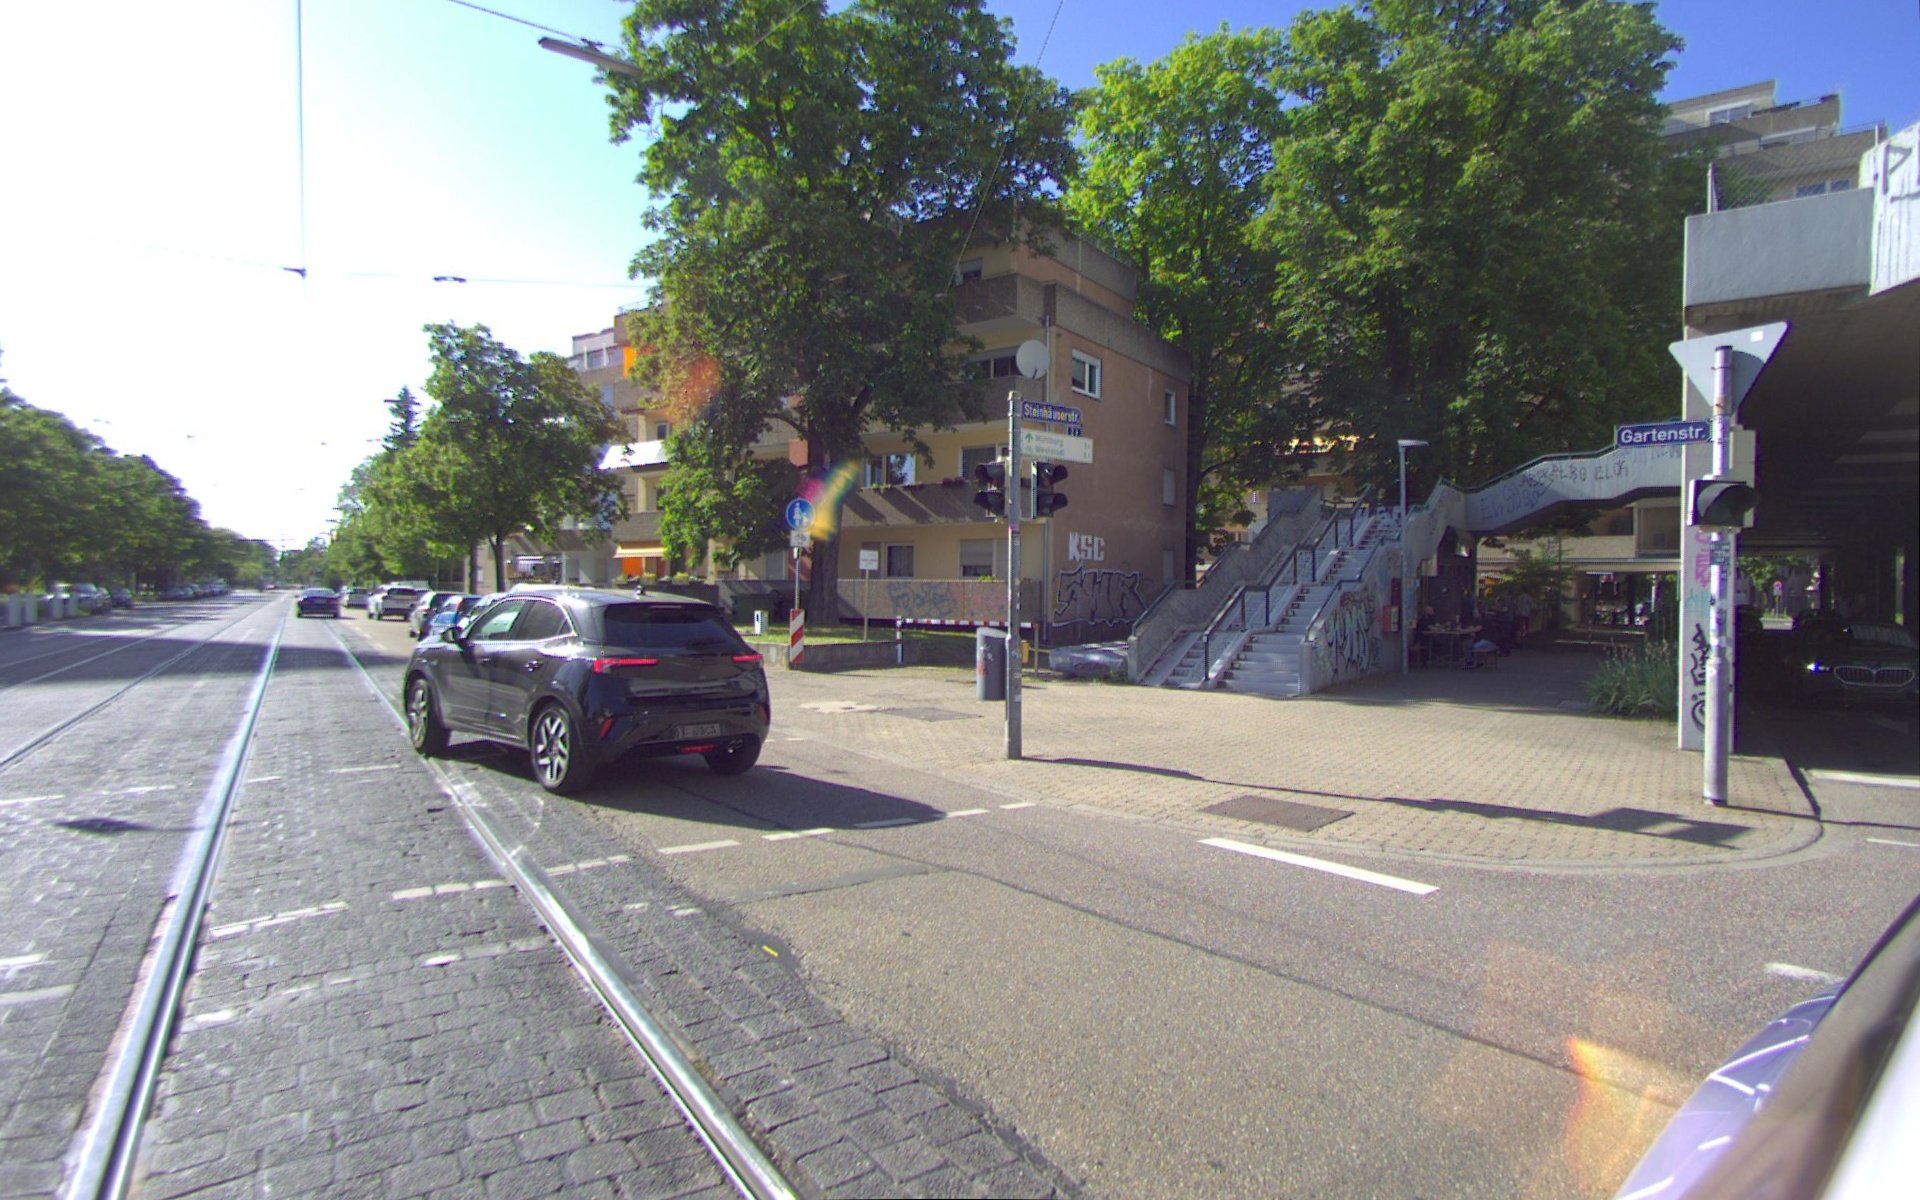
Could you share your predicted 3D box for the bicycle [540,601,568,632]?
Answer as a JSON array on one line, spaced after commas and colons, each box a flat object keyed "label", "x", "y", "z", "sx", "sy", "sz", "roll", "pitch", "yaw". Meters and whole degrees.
[{"label": "bicycle", "x": -15.035, "y": 0.595, "z": 37.463, "sx": 0.793, "sy": 1.075, "sz": 2.196, "roll": 1, "pitch": 0, "yaw": -26}]

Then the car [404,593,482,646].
[{"label": "car", "x": -15.811, "y": 0.581, "z": 30.889, "sx": 1.457, "sy": 1.479, "sz": 3.367, "roll": 2, "pitch": 0, "yaw": -38}]

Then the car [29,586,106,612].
[{"label": "car", "x": -45.470, "y": -0.062, "z": 51.594, "sx": 2.851, "sy": 1.265, "sz": 1.254, "roll": 0, "pitch": 0, "yaw": -38}]

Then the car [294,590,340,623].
[{"label": "car", "x": -30.734, "y": 0.279, "z": 48.405, "sx": 1.775, "sy": 1.521, "sz": 3.879, "roll": 0, "pitch": 0, "yaw": -33}]

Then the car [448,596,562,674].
[{"label": "car", "x": -10.323, "y": 0.743, "z": 22.850, "sx": 1.625, "sy": 1.551, "sz": 3.507, "roll": 2, "pitch": 0, "yaw": -36}]

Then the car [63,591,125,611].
[{"label": "car", "x": -54.194, "y": 0.058, "z": 63.369, "sx": 2.889, "sy": 1.266, "sz": 1.405, "roll": 0, "pitch": 0, "yaw": -38}]

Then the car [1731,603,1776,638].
[{"label": "car", "x": 37.923, "y": 0.945, "z": 48.443, "sx": 1.609, "sy": 1.574, "sz": 3.959, "roll": 1, "pitch": 0, "yaw": 37}]

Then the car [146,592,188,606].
[{"label": "car", "x": -78.061, "y": -0.086, "z": 99.683, "sx": 3.276, "sy": 1.336, "sz": 1.399, "roll": 0, "pitch": 0, "yaw": -38}]

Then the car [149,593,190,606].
[{"label": "car", "x": -81.624, "y": -0.042, "z": 104.524, "sx": 3.276, "sy": 1.266, "sz": 1.450, "roll": 0, "pitch": 0, "yaw": -38}]

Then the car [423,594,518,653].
[{"label": "car", "x": -12.974, "y": 0.594, "z": 26.741, "sx": 1.635, "sy": 1.424, "sz": 3.292, "roll": 2, "pitch": 0, "yaw": -36}]

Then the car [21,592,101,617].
[{"label": "car", "x": -44.151, "y": 0.203, "z": 49.762, "sx": 2.851, "sy": 1.191, "sz": 1.254, "roll": 0, "pitch": 0, "yaw": -38}]

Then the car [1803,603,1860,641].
[{"label": "car", "x": 37.875, "y": 0.917, "z": 44.044, "sx": 1.609, "sy": 1.574, "sz": 3.959, "roll": 1, "pitch": 0, "yaw": 37}]

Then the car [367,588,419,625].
[{"label": "car", "x": -26.720, "y": 0.286, "z": 47.661, "sx": 1.775, "sy": 1.567, "sz": 3.537, "roll": 2, "pitch": 0, "yaw": -35}]

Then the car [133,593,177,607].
[{"label": "car", "x": -75.766, "y": -0.032, "z": 95.289, "sx": 3.276, "sy": 1.305, "sz": 1.303, "roll": 0, "pitch": 0, "yaw": -38}]

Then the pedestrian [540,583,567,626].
[{"label": "pedestrian", "x": -15.060, "y": 0.153, "z": 37.486, "sx": 0.860, "sy": 1.572, "sz": 0.935, "roll": 1, "pitch": 0, "yaw": -25}]

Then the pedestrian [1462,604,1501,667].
[{"label": "pedestrian", "x": 11.220, "y": 0.756, "z": 21.777, "sx": 0.718, "sy": 1.315, "sz": 0.583, "roll": 0, "pitch": 0, "yaw": 30}]

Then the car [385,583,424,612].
[{"label": "car", "x": -33.725, "y": -0.162, "z": 61.387, "sx": 1.775, "sy": 1.696, "sz": 3.879, "roll": 0, "pitch": 0, "yaw": -33}]

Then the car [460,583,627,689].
[{"label": "car", "x": -7.620, "y": 0.539, "z": 18.272, "sx": 1.899, "sy": 1.640, "sz": 4.323, "roll": 0, "pitch": 1, "yaw": -35}]

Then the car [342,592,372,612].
[{"label": "car", "x": -44.199, "y": 0.140, "z": 74.124, "sx": 1.730, "sy": 1.474, "sz": 3.695, "roll": 1, "pitch": 0, "yaw": -33}]

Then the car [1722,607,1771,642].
[{"label": "car", "x": 34.008, "y": 1.027, "z": 43.842, "sx": 1.609, "sy": 1.392, "sz": 4.143, "roll": 1, "pitch": 0, "yaw": 37}]

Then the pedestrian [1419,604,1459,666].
[{"label": "pedestrian", "x": 10.511, "y": 0.751, "z": 22.209, "sx": 0.734, "sy": 1.315, "sz": 0.607, "roll": 0, "pitch": 0, "yaw": 30}]

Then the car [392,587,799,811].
[{"label": "car", "x": -3.296, "y": 0.679, "z": 8.844, "sx": 3.739, "sy": 1.537, "sz": 1.761, "roll": 0, "pitch": 0, "yaw": 41}]

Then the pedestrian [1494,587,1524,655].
[{"label": "pedestrian", "x": 14.067, "y": 0.528, "z": 25.945, "sx": 0.653, "sy": 1.713, "sz": 0.583, "roll": 0, "pitch": 0, "yaw": 30}]

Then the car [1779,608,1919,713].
[{"label": "car", "x": 15.775, "y": 0.944, "z": 17.689, "sx": 1.947, "sy": 1.575, "sz": 4.975, "roll": 0, "pitch": 0, "yaw": 36}]
